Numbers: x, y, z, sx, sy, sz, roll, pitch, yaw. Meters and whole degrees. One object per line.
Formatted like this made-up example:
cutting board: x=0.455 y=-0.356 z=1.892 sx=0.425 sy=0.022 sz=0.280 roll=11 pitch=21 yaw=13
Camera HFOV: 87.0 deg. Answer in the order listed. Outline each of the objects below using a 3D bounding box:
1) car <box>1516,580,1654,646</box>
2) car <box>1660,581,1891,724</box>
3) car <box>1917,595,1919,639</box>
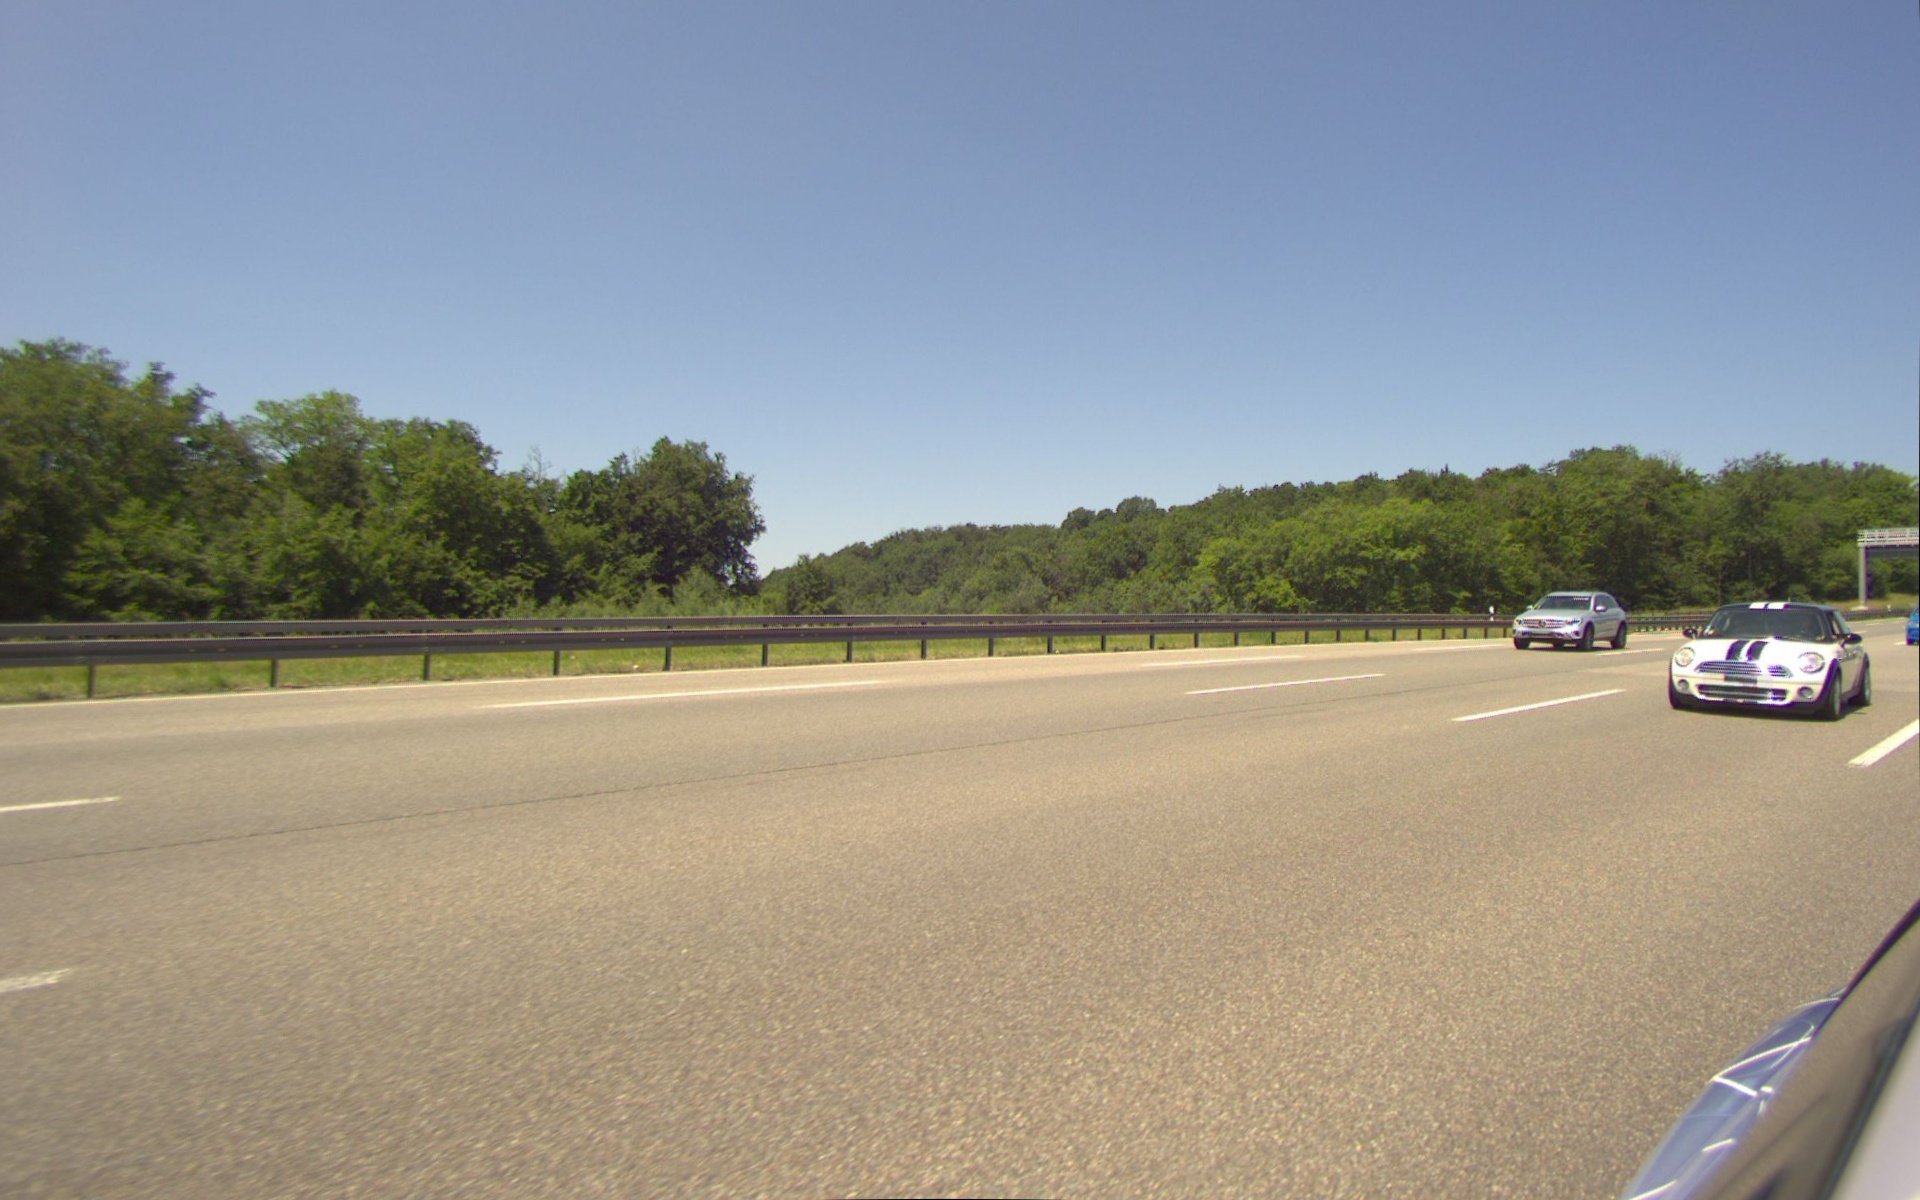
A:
car: x=18.093 y=0.394 z=29.185 sx=5.145 sy=1.754 sz=1.804 roll=1 pitch=-3 yaw=-40
car: x=10.883 y=0.553 z=13.412 sx=3.933 sy=1.571 sz=1.843 roll=-1 pitch=2 yaw=-43
car: x=33.836 y=0.549 z=34.154 sx=3.928 sy=1.429 sz=1.741 roll=0 pitch=-1 yaw=-39
